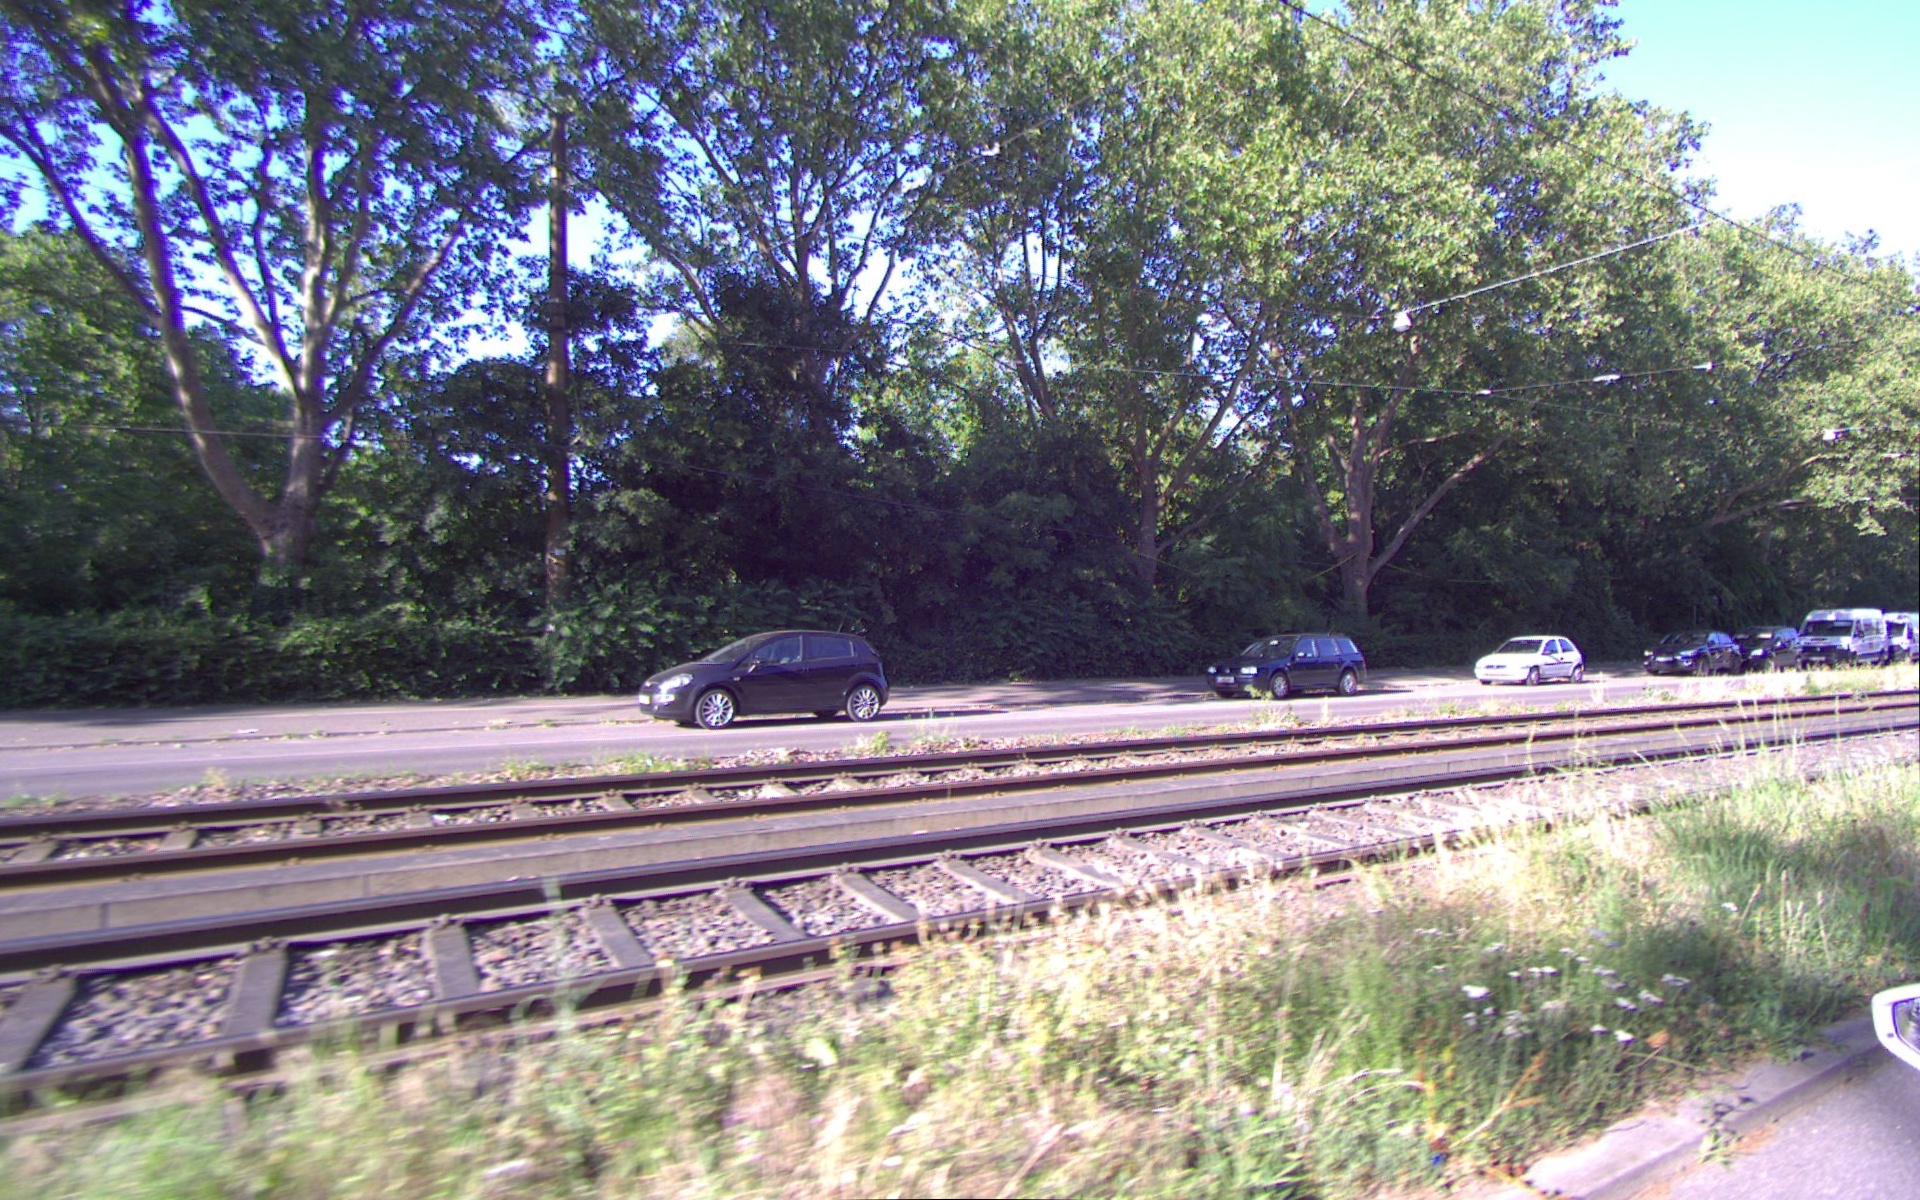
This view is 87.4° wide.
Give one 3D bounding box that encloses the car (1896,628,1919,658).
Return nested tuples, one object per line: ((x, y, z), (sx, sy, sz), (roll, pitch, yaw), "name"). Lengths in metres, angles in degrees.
((50.301, 2.251, 52.302), (3.233, 1.532, 1.641), (2, -3, -35), "car")

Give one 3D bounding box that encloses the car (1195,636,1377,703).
((7.679, 1.582, 23.578), (4.279, 1.455, 1.816), (2, -3, -34), "car")

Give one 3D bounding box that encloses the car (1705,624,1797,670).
((31.181, 1.841, 39.574), (3.841, 1.750, 1.729), (2, -3, -34), "car")

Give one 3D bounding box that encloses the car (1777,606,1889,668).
((38.188, 1.623, 43.891), (5.987, 2.553, 2.171), (2, -3, -34), "car")

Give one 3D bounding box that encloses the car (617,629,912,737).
((-3.087, 1.260, 16.227), (4.348, 1.525, 1.816), (2, -3, -34), "car")

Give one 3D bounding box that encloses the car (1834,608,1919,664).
((44.510, 1.742, 48.393), (6.209, 2.553, 2.170), (2, -3, -35), "car")

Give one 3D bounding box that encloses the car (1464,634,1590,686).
((16.874, 1.756, 29.854), (3.812, 1.455, 1.729), (2, -3, -34), "car")

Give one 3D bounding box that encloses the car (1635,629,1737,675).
((26.082, 1.846, 36.056), (3.841, 1.575, 1.729), (2, -3, -34), "car")
